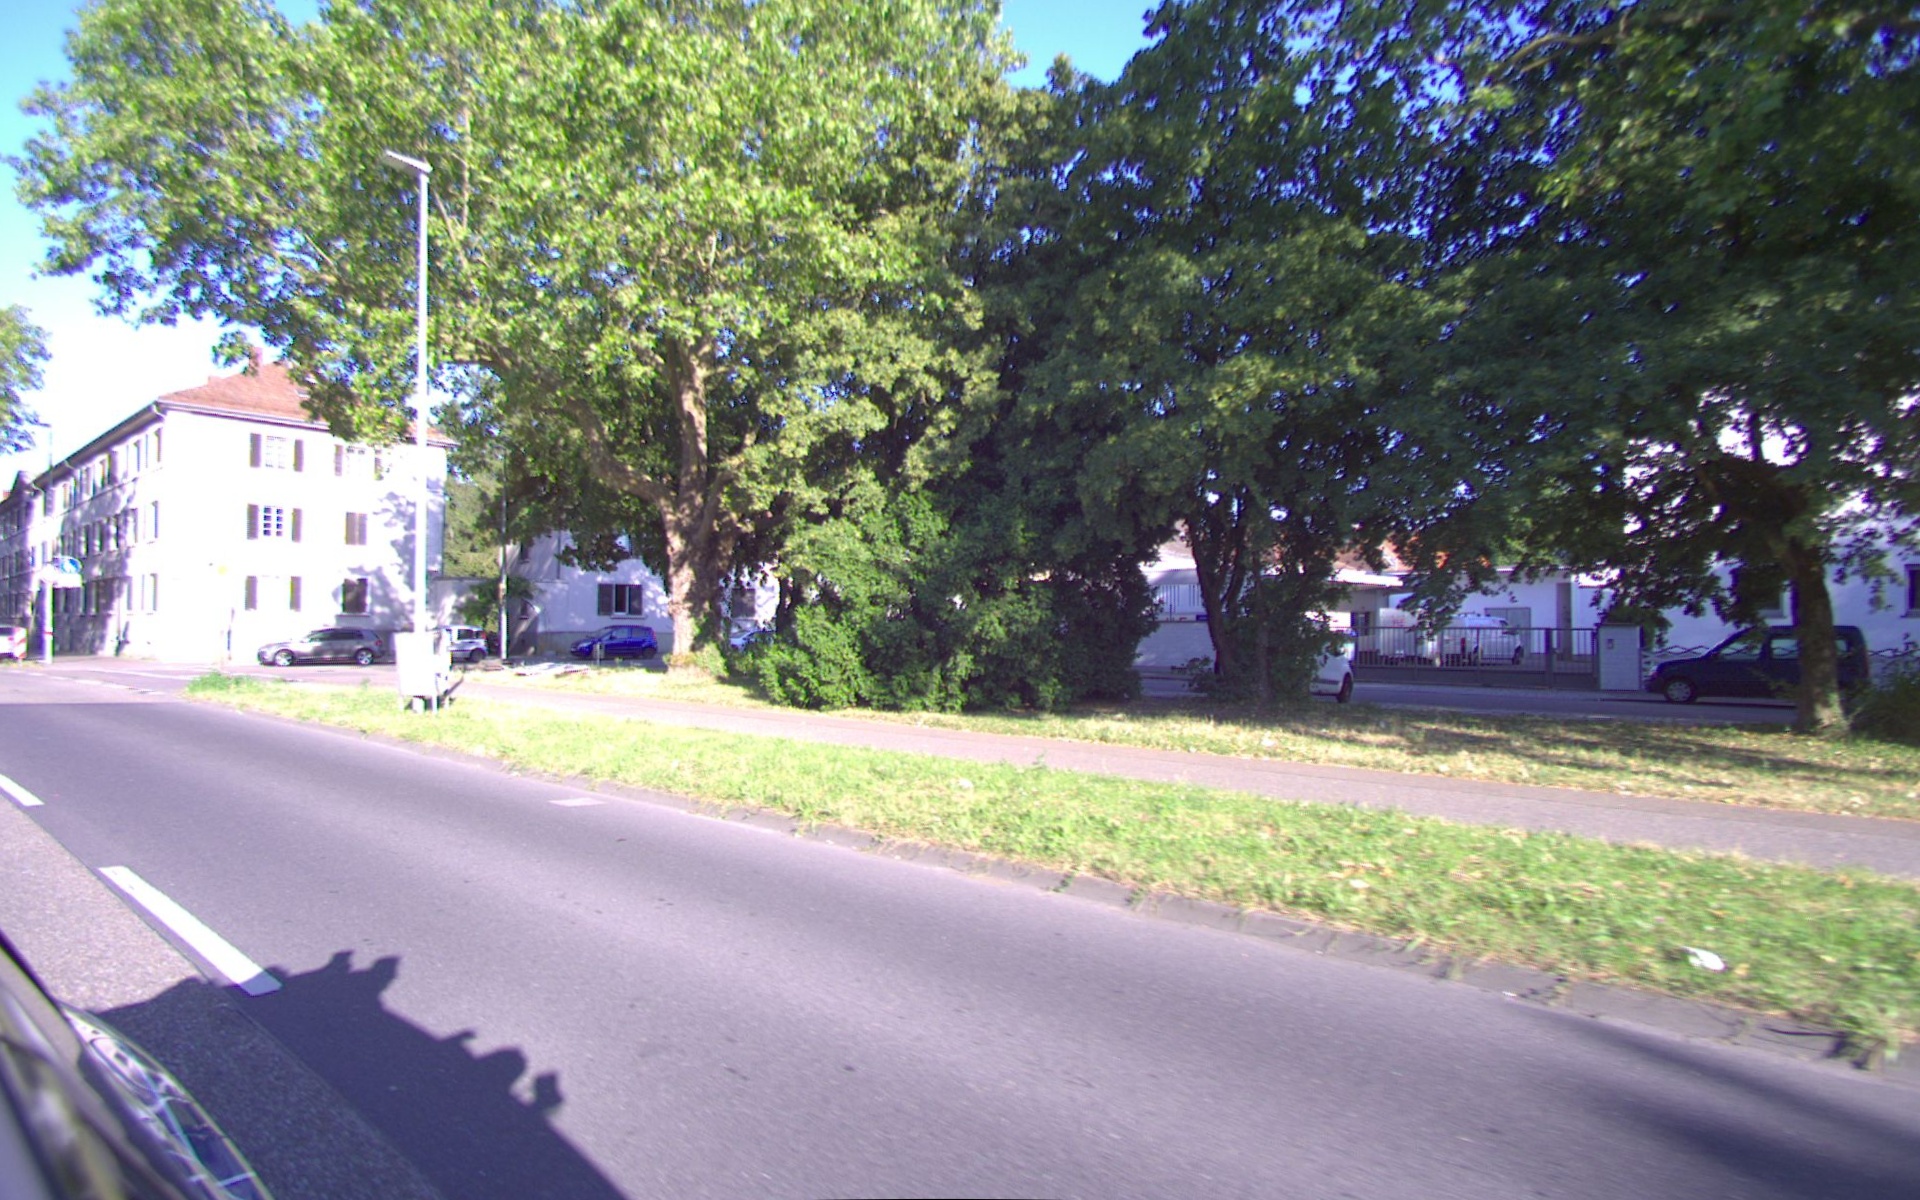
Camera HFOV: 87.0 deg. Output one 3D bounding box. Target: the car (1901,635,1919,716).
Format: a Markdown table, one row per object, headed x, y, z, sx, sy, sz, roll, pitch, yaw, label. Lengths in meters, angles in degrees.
| x | y | z | sx | sy | sz | roll | pitch | yaw | label |
| --- | --- | --- | --- | --- | --- | --- | --- | --- | --- |
| 20.618 | 1.479 | 19.076 | 4.066 | 1.566 | 1.807 | -1 | -4 | 40 | car |

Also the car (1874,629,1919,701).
| x | y | z | sx | sy | sz | roll | pitch | yaw | label |
| --- | --- | --- | --- | --- | --- | --- | --- | --- | --- |
| 22.392 | 1.456 | 23.188 | 1.923 | 1.564 | 3.947 | -1 | -2 | 39 | car |

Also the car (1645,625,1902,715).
| x | y | z | sx | sy | sz | roll | pitch | yaw | label |
| --- | --- | --- | --- | --- | --- | --- | --- | --- | --- |
| 17.421 | 1.455 | 21.879 | 4.172 | 1.754 | 1.874 | -1 | -4 | 40 | car |

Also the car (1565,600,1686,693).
| x | y | z | sx | sy | sz | roll | pitch | yaw | label |
| --- | --- | --- | --- | --- | --- | --- | --- | --- | --- |
| 17.936 | 1.216 | 27.208 | 2.000 | 2.306 | 4.267 | -1 | -2 | 43 | car |

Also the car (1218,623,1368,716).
| x | y | z | sx | sy | sz | roll | pitch | yaw | label |
| --- | --- | --- | --- | --- | --- | --- | --- | --- | --- |
| 6.817 | 1.330 | 20.504 | 1.724 | 1.697 | 3.950 | -1 | -2 | 37 | car |

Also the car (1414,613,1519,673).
| x | y | z | sx | sy | sz | roll | pitch | yaw | label |
| --- | --- | --- | --- | --- | --- | --- | --- | --- | --- |
| 20.260 | 1.709 | 40.437 | 3.932 | 2.266 | 2.006 | 1 | -2 | -33 | car |

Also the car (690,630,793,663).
| x | y | z | sx | sy | sz | roll | pitch | yaw | label |
| --- | --- | --- | --- | --- | --- | --- | --- | --- | --- |
| -10.718 | 2.260 | 49.739 | 4.603 | 1.573 | 1.869 | 2 | -2 | -37 | car |

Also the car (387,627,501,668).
| x | y | z | sx | sy | sz | roll | pitch | yaw | label |
| --- | --- | --- | --- | --- | --- | --- | --- | --- | --- |
| -21.247 | 1.916 | 41.749 | 3.934 | 1.573 | 1.869 | 1 | -1 | -37 | car |

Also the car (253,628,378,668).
| x | y | z | sx | sy | sz | roll | pitch | yaw | label |
| --- | --- | --- | --- | --- | --- | --- | --- | --- | --- |
| -24.858 | 1.827 | 39.064 | 3.934 | 1.429 | 1.918 | 2 | 0 | -37 | car |

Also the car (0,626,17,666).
| x | y | z | sx | sy | sz | roll | pitch | yaw | label |
| --- | --- | --- | --- | --- | --- | --- | --- | --- | --- |
| -38.146 | 1.800 | 39.444 | 4.108 | 1.495 | 1.742 | -2 | -1 | 43 | car |

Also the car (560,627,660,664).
| x | y | z | sx | sy | sz | roll | pitch | yaw | label |
| --- | --- | --- | --- | --- | --- | --- | --- | --- | --- |
| -15.915 | 2.048 | 46.089 | 3.934 | 1.573 | 1.869 | 1 | -2 | -37 | car |
